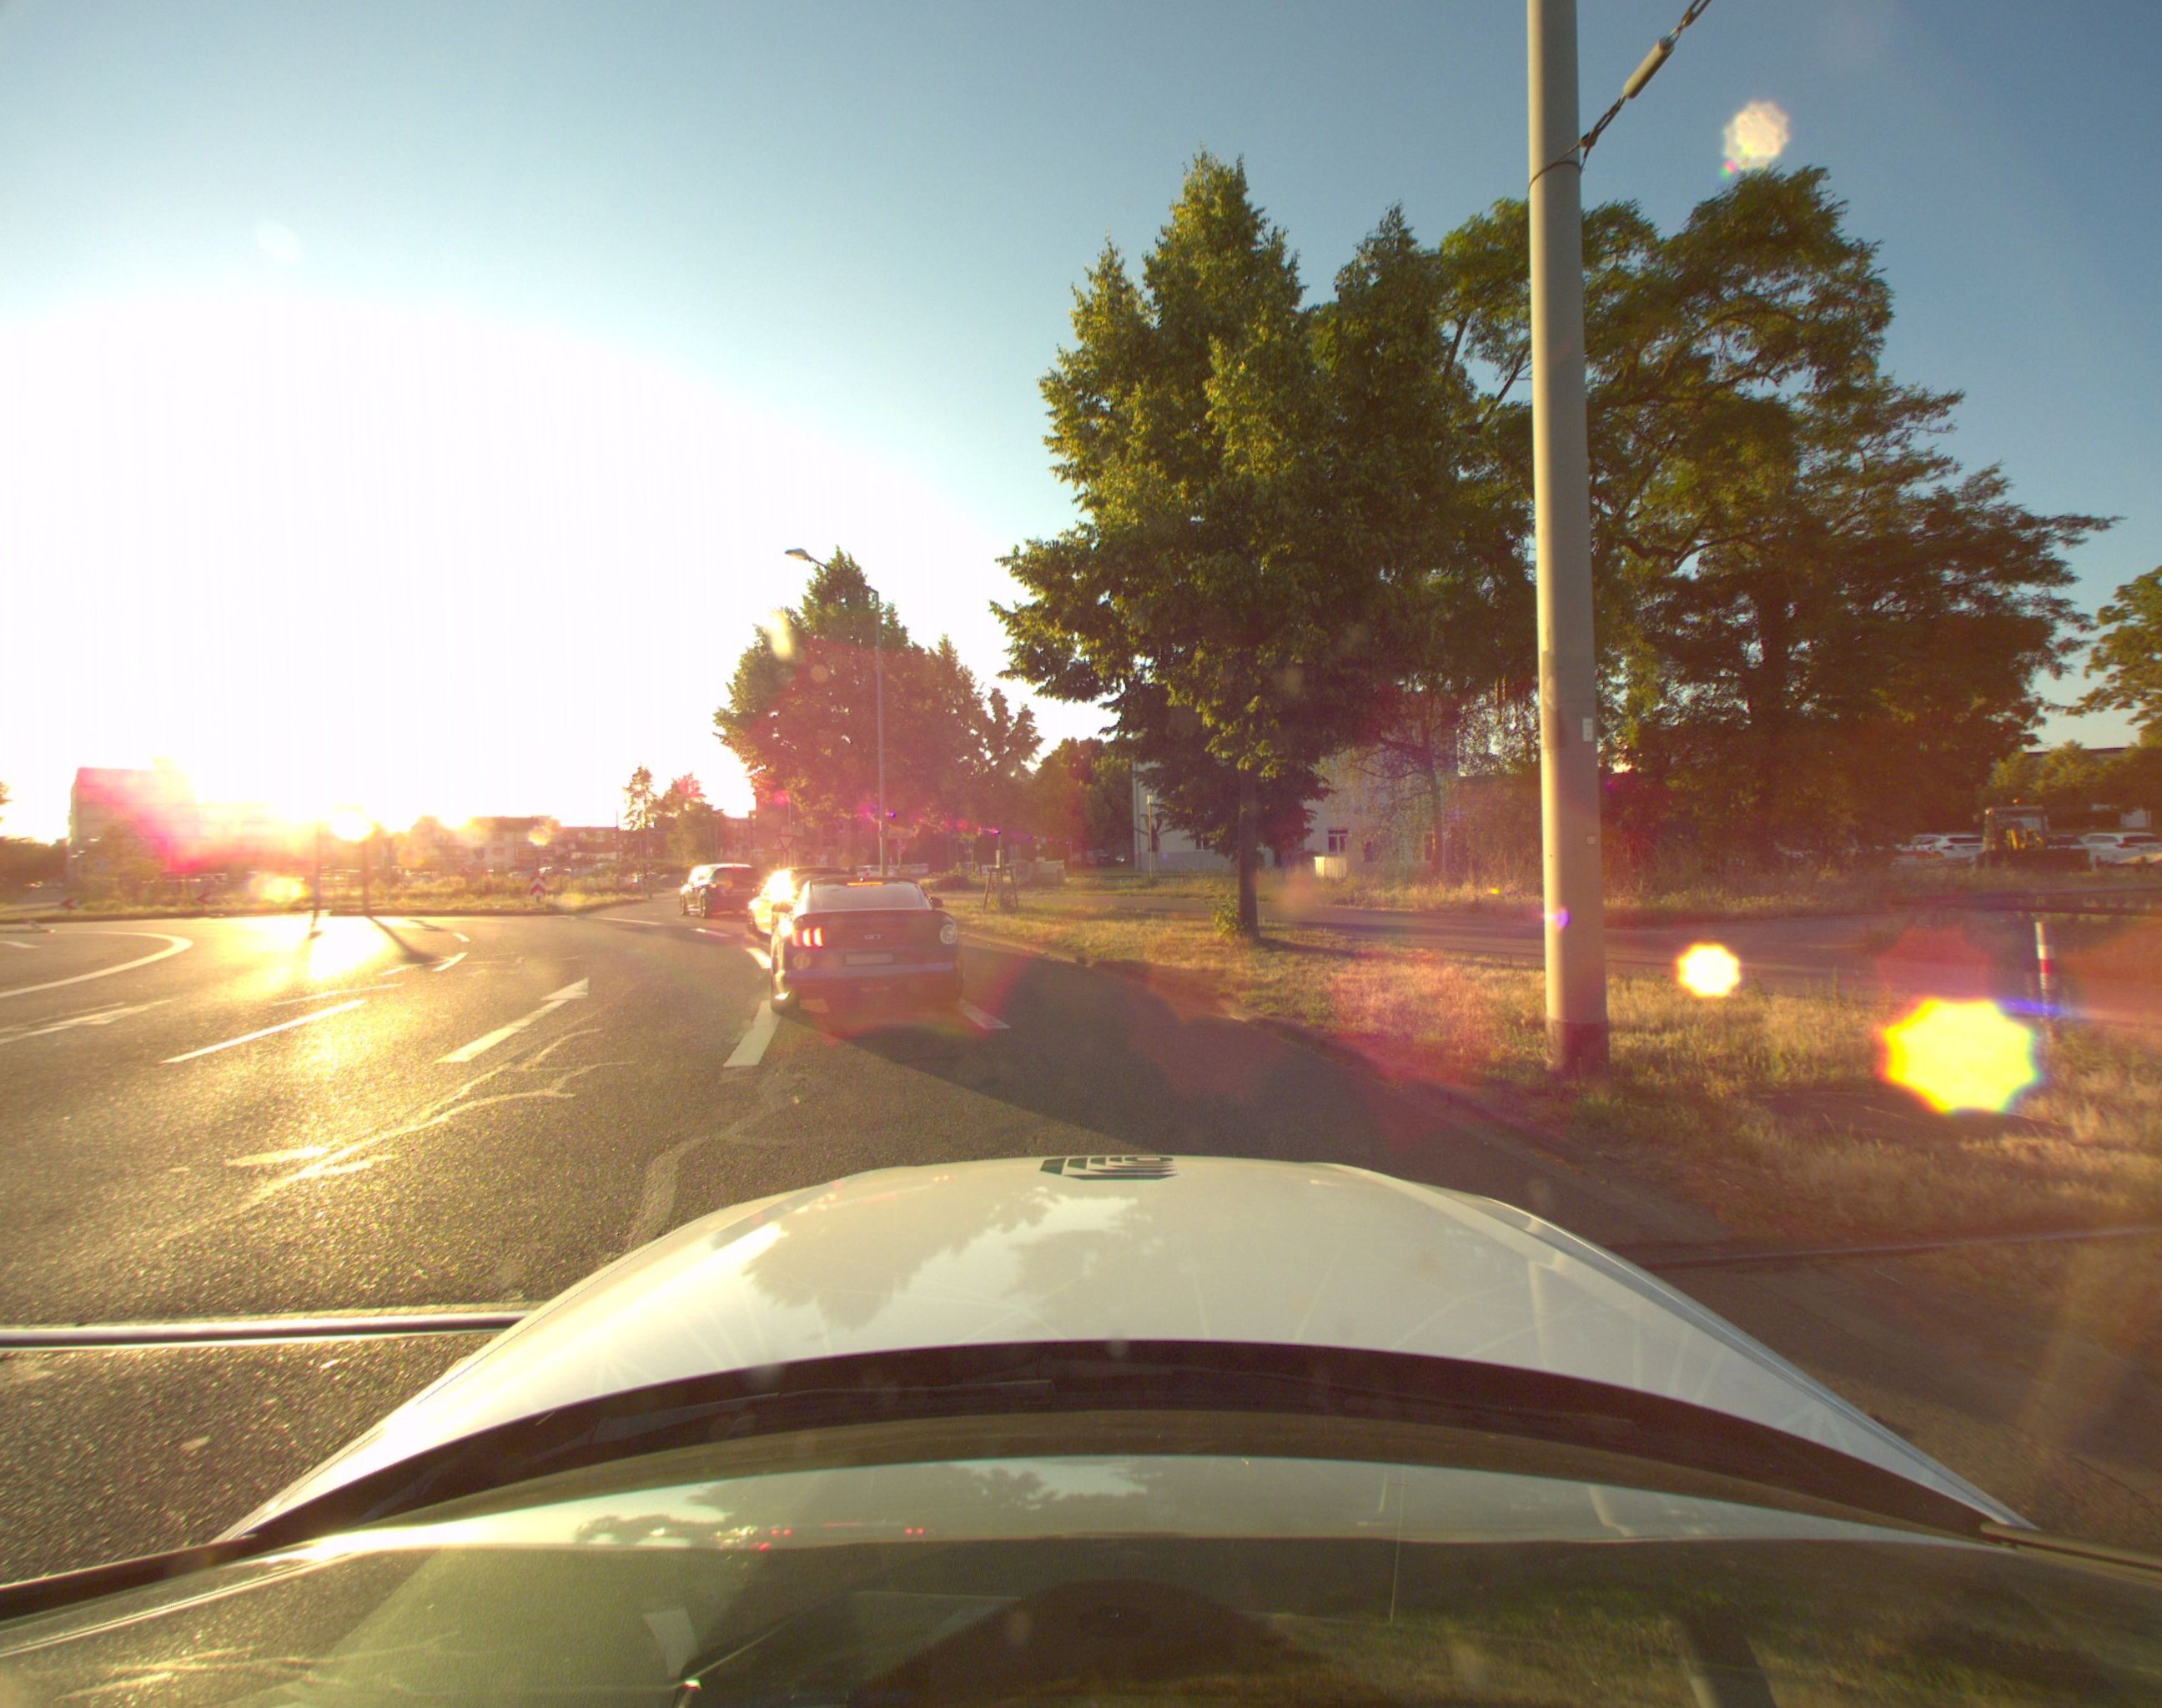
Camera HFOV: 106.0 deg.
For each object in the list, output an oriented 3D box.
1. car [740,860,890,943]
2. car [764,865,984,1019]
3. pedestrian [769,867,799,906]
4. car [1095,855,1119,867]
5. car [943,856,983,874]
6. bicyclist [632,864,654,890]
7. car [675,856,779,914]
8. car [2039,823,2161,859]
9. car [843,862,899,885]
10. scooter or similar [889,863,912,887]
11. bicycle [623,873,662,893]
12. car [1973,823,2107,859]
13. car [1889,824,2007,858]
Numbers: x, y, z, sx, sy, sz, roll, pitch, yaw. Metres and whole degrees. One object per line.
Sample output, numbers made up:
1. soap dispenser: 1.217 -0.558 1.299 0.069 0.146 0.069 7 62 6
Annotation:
1. car: -5.487 0.848 16.440 1.964 1.427 4.386 0 -1 -31
2. car: -2.606 0.822 9.715 1.957 1.342 4.640 1 -1 -19
3. pedestrian: -13.242 1.426 36.287 0.876 1.686 0.851 -2 0 21
4. car: 3.421 0.912 105.568 1.860 1.401 3.937 -2 0 21
5. car: -10.103 0.961 69.972 1.861 1.401 3.934 -2 0 17
6. bicyclist: -27.945 1.443 51.979 0.747 1.612 0.981 -2 0 14
7. car: -11.021 0.942 25.188 1.967 1.602 4.030 0 -2 -39
8. car: 45.070 -0.558 35.739 1.932 1.445 4.016 -2 0 15
9. car: -14.344 1.302 55.766 1.861 1.401 3.935 -2 0 18
10. scooter or similar: -9.740 1.136 44.009 1.128 1.238 0.438 -1 0 -33
11. bicycle: -27.955 1.854 51.986 0.747 1.167 2.418 -2 0 14
12. car: 43.049 -0.564 36.699 1.932 1.445 4.016 -2 0 15
13. car: 40.248 -0.563 37.947 1.932 1.445 4.016 -2 0 15
